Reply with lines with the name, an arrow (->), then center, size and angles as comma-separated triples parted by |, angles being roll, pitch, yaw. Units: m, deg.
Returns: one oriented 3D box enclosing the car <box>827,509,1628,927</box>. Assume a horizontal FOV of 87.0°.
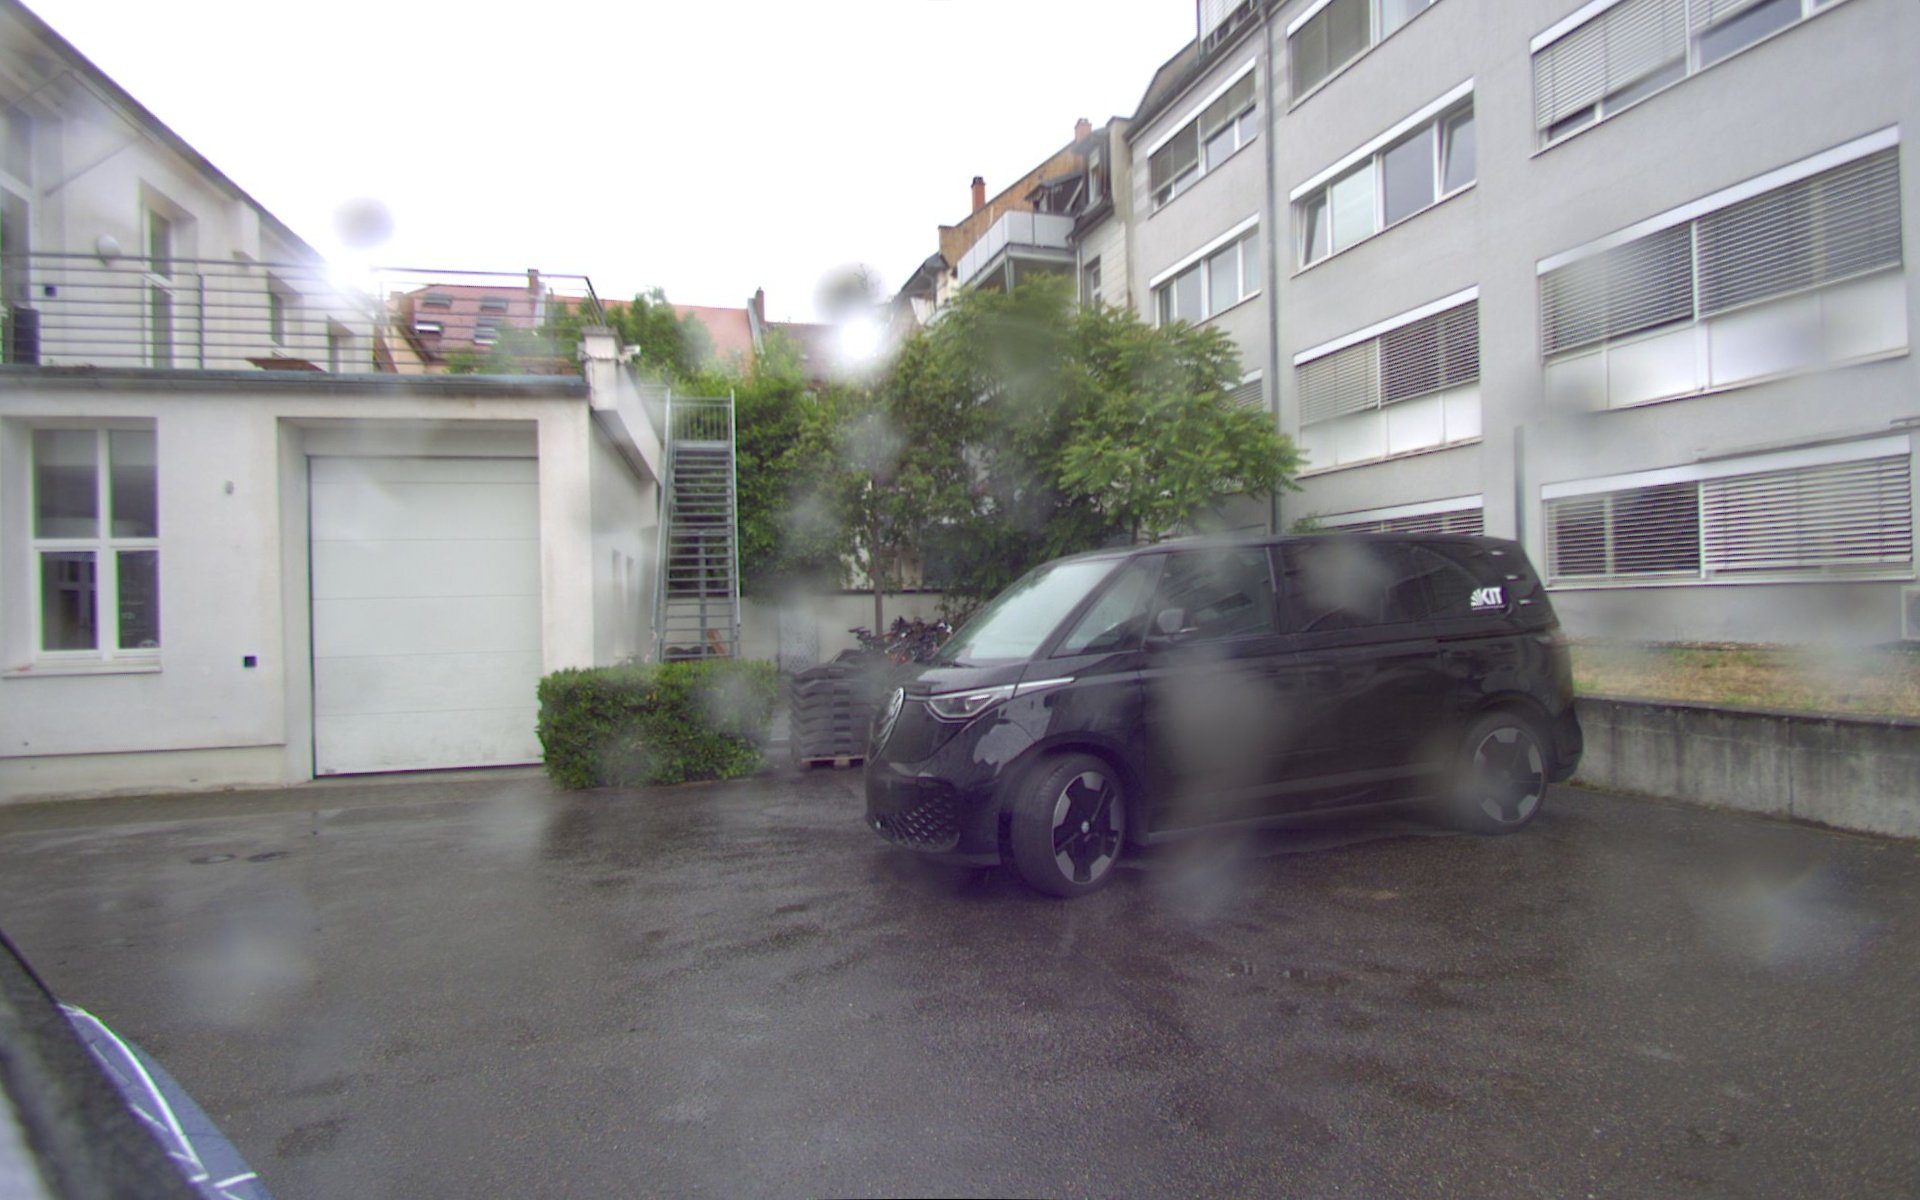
car -> 1.607, 0.517, 6.390 | 4.444, 1.912, 2.053 | -2, -2, -21
